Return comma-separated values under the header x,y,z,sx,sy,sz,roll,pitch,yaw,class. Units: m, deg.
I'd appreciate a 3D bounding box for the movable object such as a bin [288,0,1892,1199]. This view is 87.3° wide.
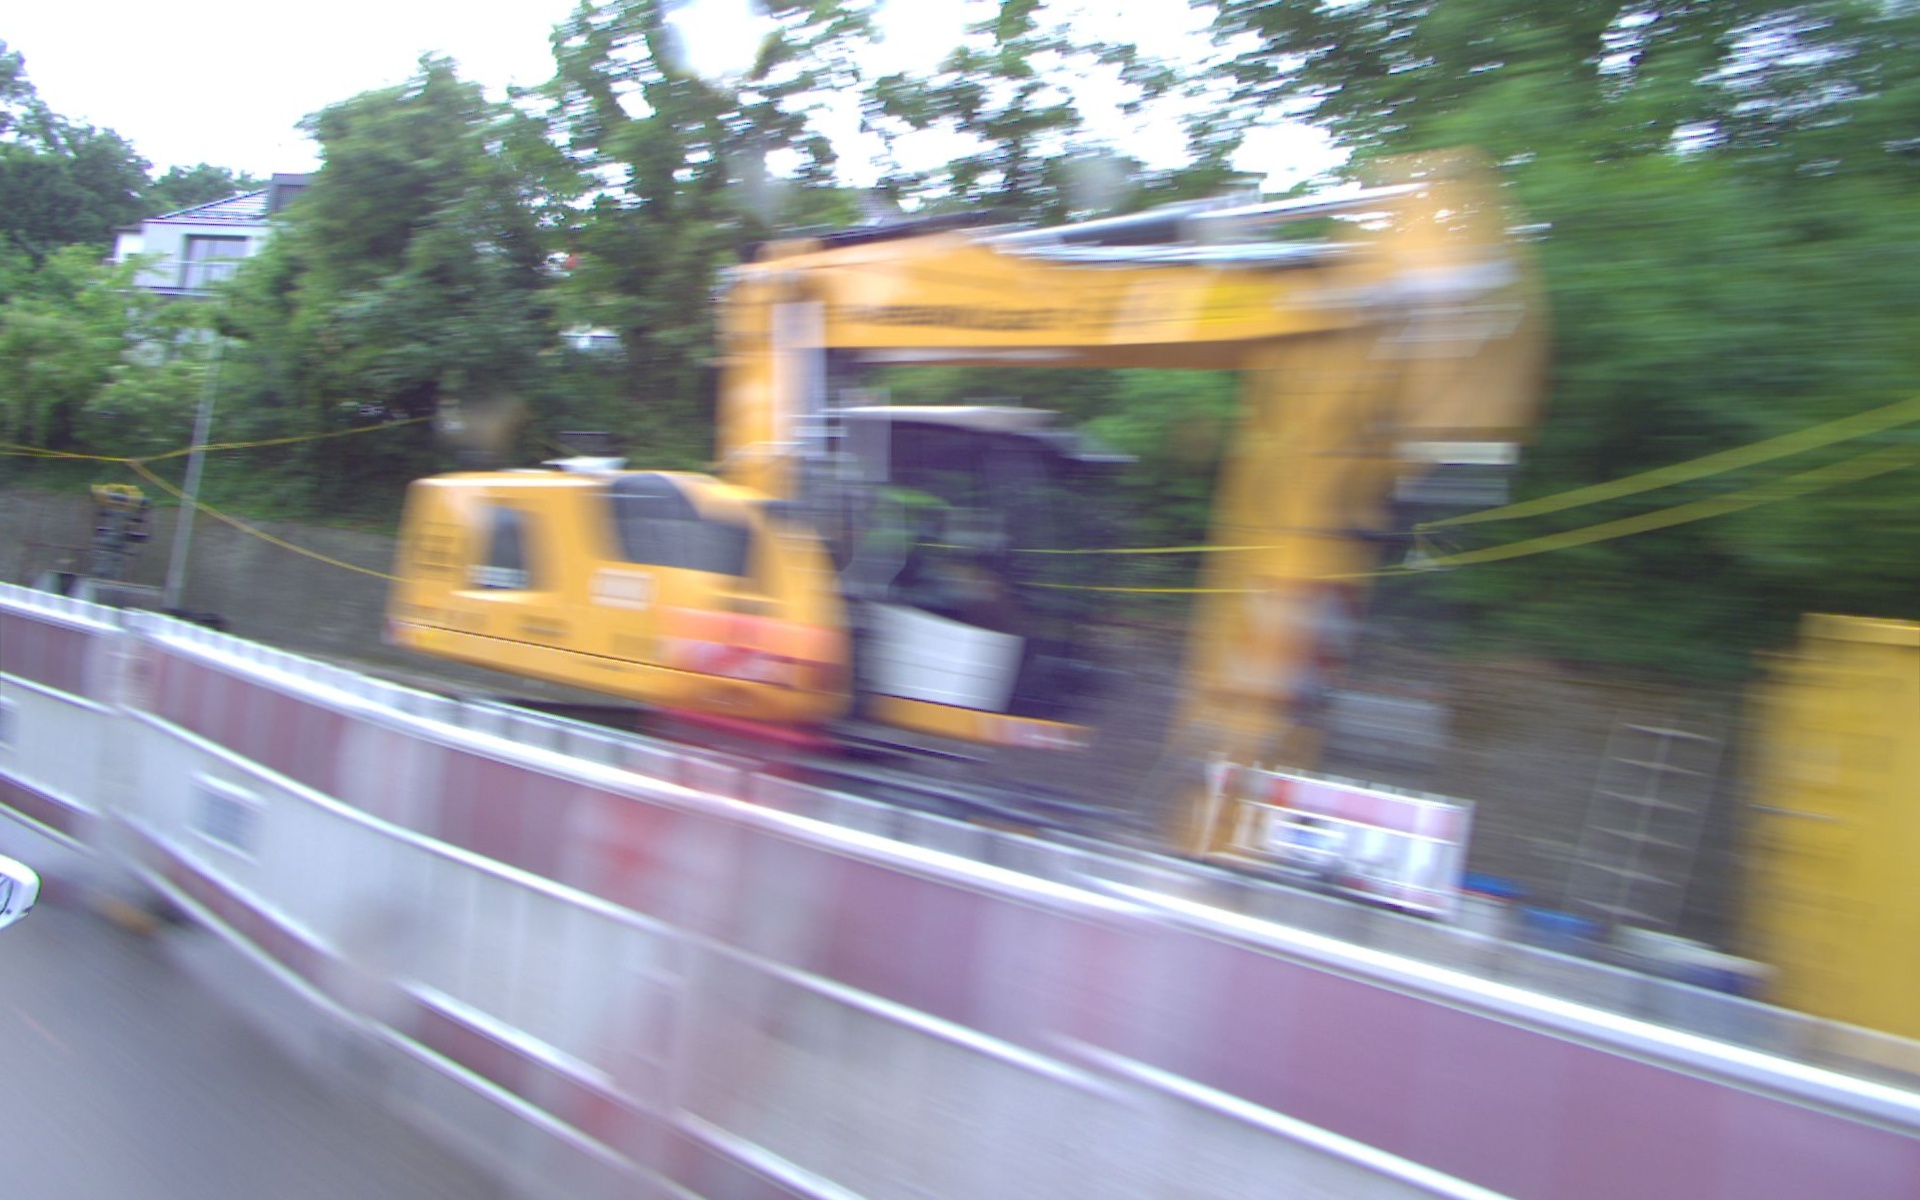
x,y,z,sx,sy,sz,roll,pitch,yaw,class
-0.266,-0.082,5.430,7.213,4.059,2.823,6,-2,36,movable object such as a bin
